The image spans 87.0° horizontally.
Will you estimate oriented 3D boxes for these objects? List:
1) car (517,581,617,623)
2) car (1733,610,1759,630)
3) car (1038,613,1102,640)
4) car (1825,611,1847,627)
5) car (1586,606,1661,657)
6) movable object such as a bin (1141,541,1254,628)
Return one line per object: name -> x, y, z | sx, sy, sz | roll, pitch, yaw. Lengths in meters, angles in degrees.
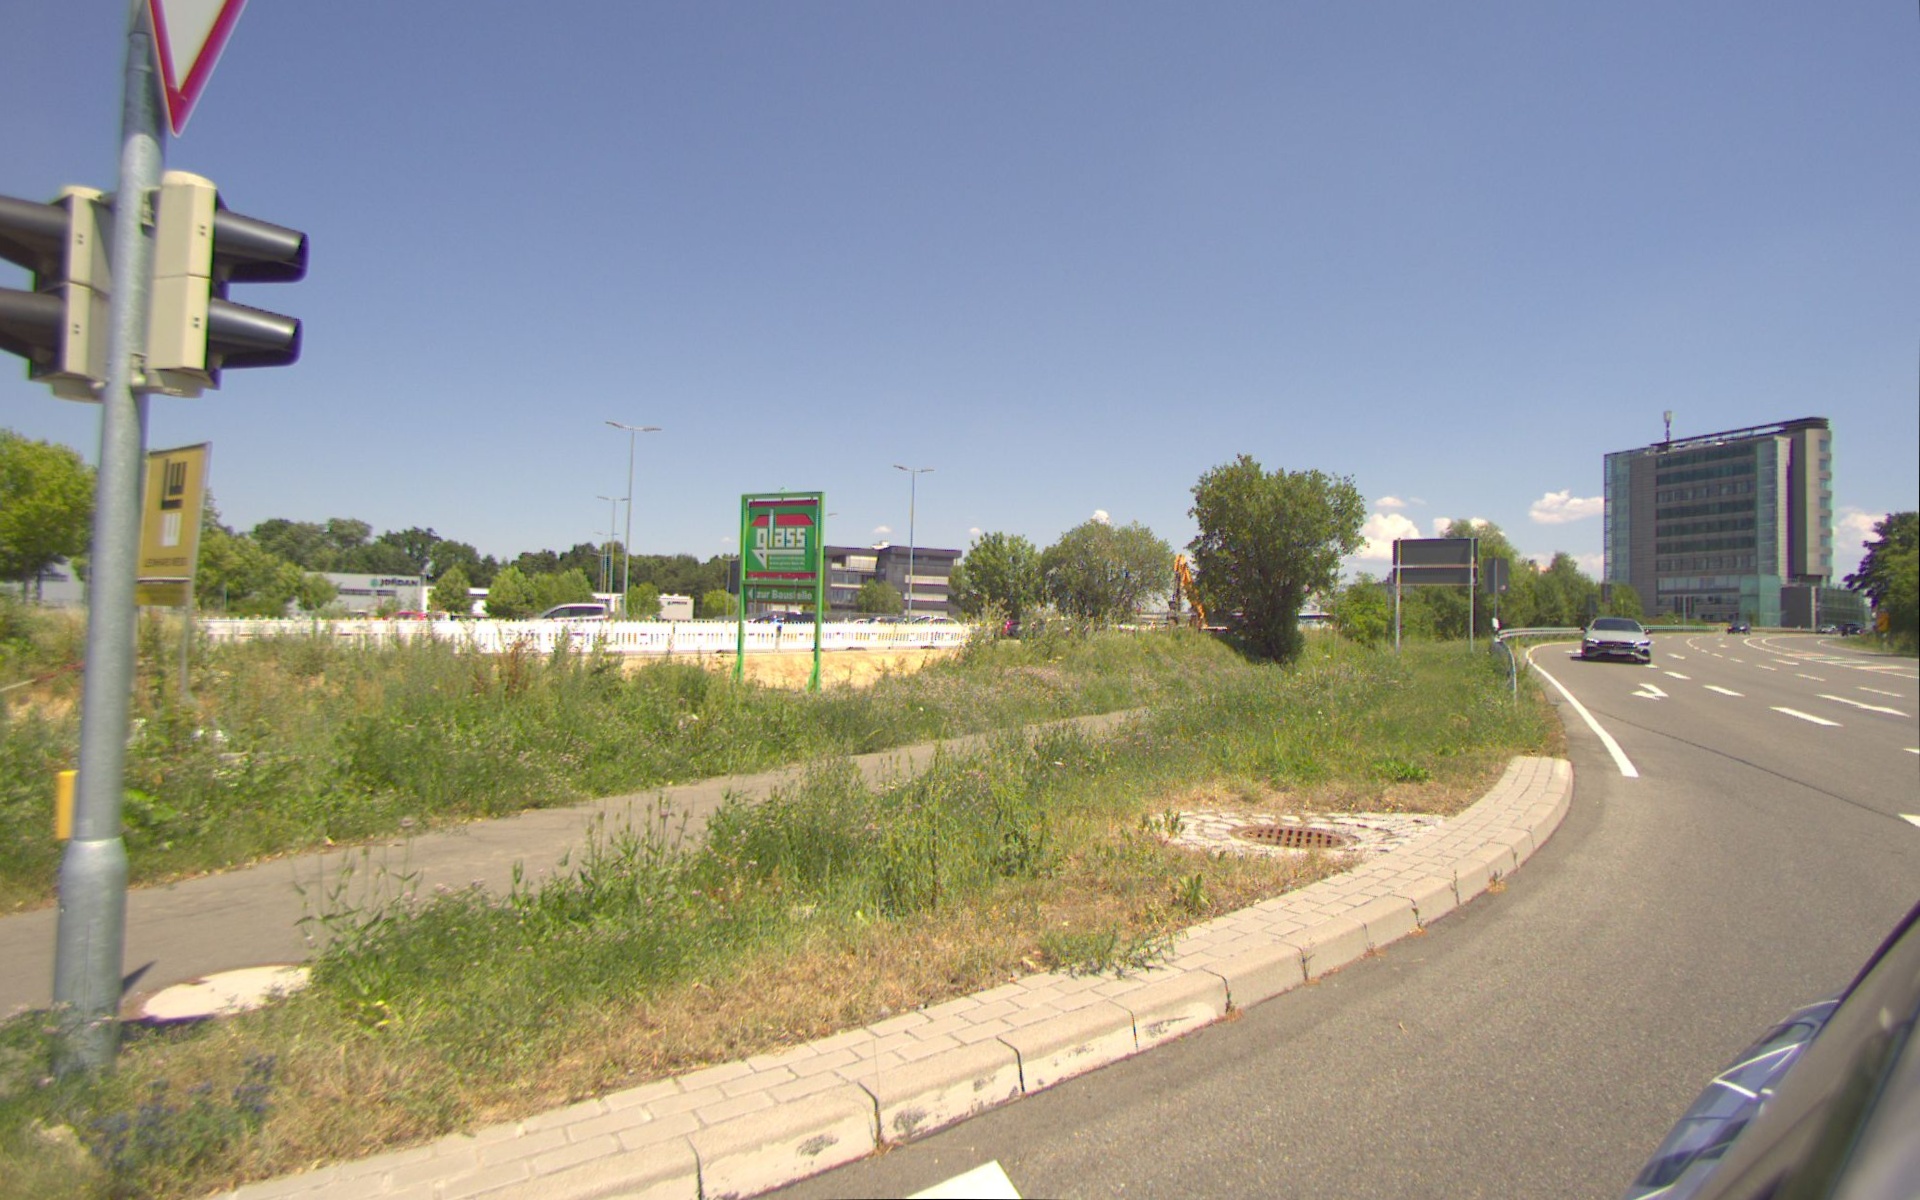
car -> -18.938, 0.096, 48.819 | 4.383, 1.939, 1.943 | 0, -1, -22
car -> 87.750, 2.246, 112.976 | 1.986, 2.039, 3.952 | 2, 1, 34
car -> 7.503, 1.782, 68.957 | 3.922, 1.660, 2.001 | 0, 1, -33
car -> 124.565, 2.711, 143.947 | 3.933, 2.039, 1.996 | 0, 2, -44
car -> 21.775, 1.007, 33.323 | 1.909, 1.460, 4.429 | 3, 0, 32
movable object such as a bin -> 12.298, -0.811, 51.856 | 2.968, 4.095, 8.007 | 2, 1, 34
